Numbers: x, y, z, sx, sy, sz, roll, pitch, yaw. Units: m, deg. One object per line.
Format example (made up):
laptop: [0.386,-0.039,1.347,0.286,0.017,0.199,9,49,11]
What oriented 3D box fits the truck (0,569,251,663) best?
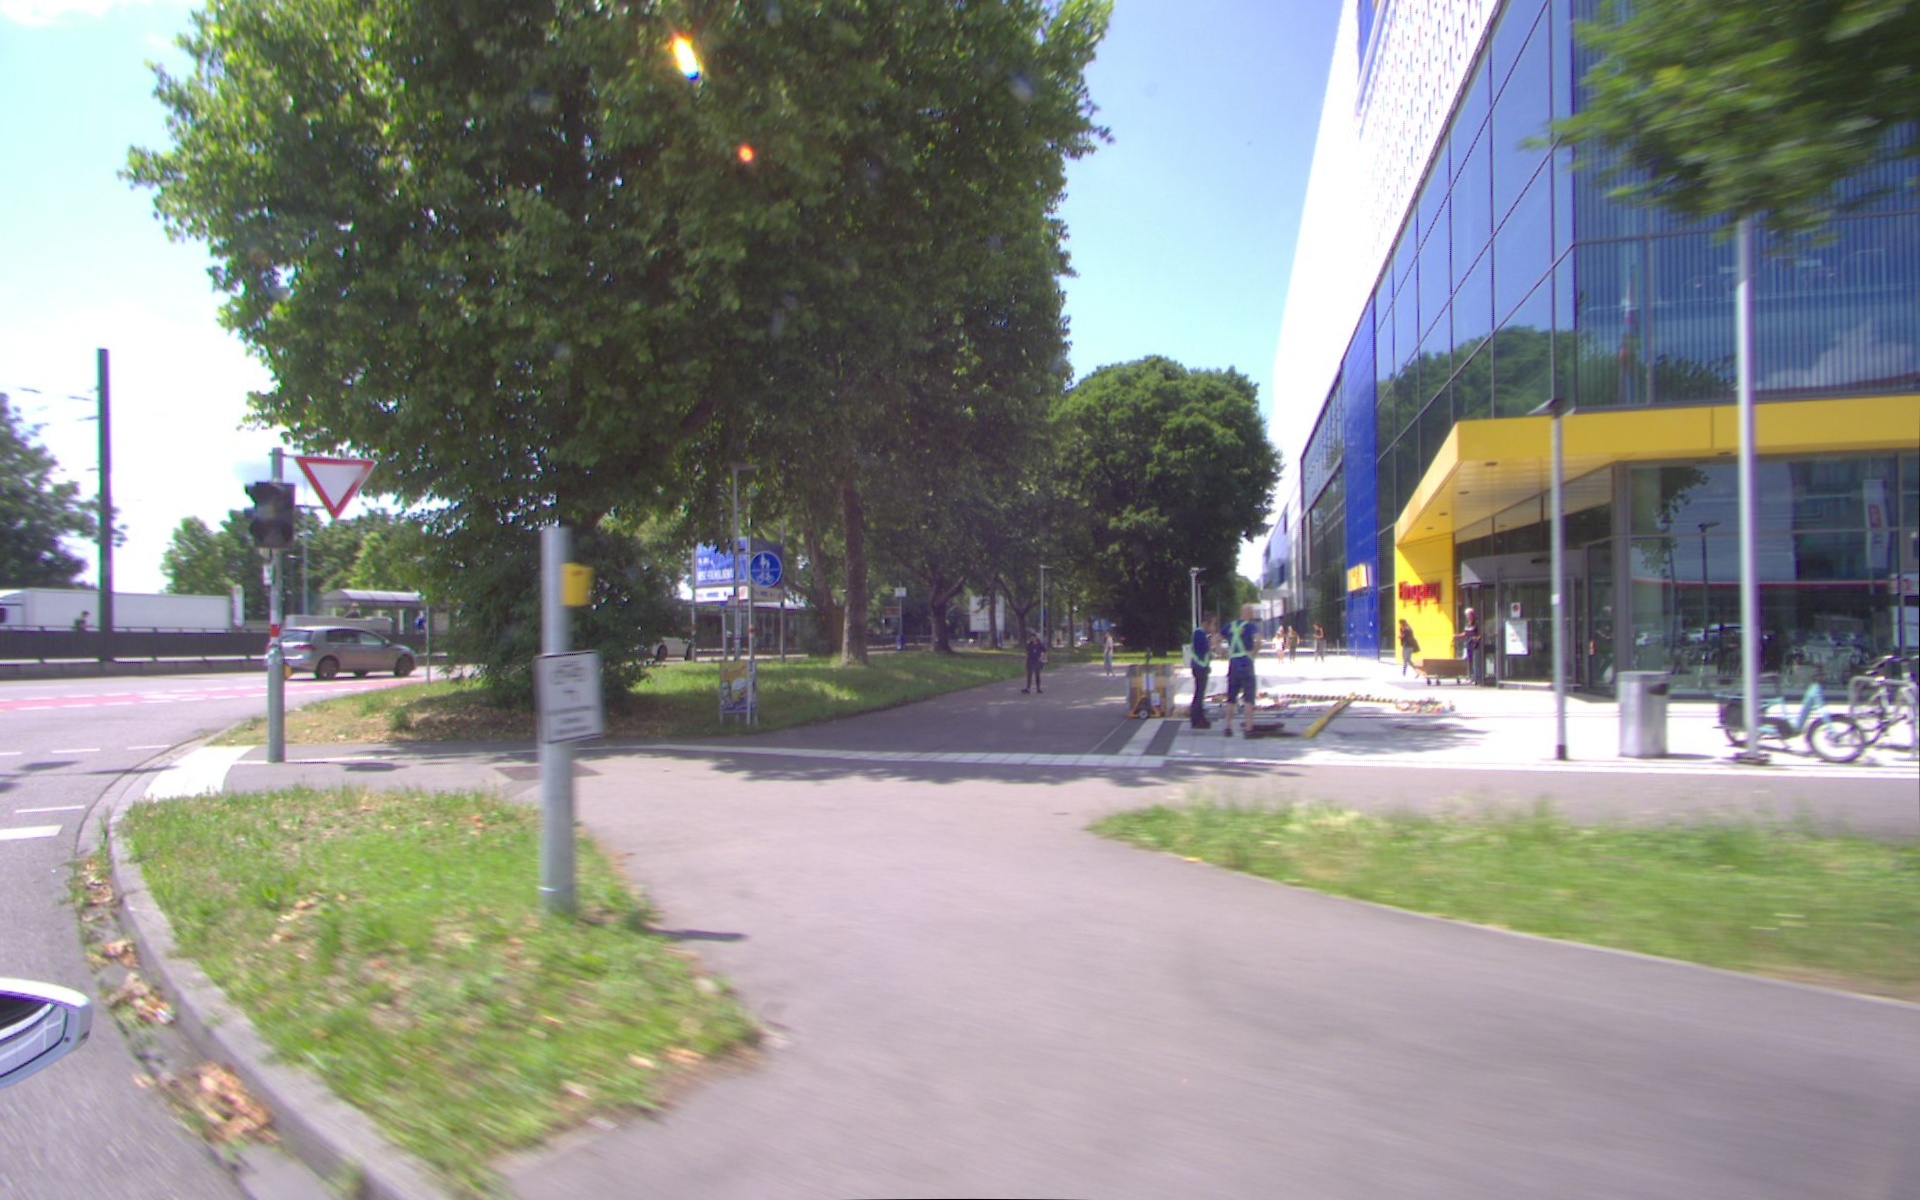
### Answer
truck: [-42.207,0.908,49.758,2.899,4.156,11.984,0,-2,18]

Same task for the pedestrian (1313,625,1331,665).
pedestrian: [15.435,1.906,42.733,0.538,1.685,0.483,1,-1,-27]

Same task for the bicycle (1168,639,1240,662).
bicycle: [13.473,2.802,55.421,3.796,1.190,0.979,-3,-3,41]

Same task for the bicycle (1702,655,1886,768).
bicycle: [9.678,1.252,11.722,0.494,1.122,1.926,-2,-1,-1]

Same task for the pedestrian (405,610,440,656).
pedestrian: [-21.262,1.317,39.621,0.723,1.778,0.929,0,-1,16]

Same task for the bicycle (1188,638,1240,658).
bicycle: [14.489,2.735,57.190,2.747,1.135,0.890,-3,-3,41]

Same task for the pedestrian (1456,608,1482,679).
pedestrian: [13.872,1.176,27.290,0.608,1.910,0.780,0,-1,25]

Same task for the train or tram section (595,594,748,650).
train or tram section: [-18.226,1.588,64.948,2.990,3.226,14.097,0,-2,13]

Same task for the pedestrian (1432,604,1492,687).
pedestrian: [11.972,1.077,23.876,0.876,1.910,0.968,1,-1,-34]

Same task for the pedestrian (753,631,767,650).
pedestrian: [-13.497,2.740,67.613,0.682,1.205,0.641,1,-1,16]

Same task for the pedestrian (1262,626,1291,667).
pedestrian: [13.242,1.939,41.879,0.873,1.685,0.783,1,-1,-23]

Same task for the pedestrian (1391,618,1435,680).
pedestrian: [12.506,1.343,27.653,0.789,1.685,0.703,-1,-1,-13]

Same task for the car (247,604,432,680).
car: [-17.703,1.165,28.832,1.964,2.015,4.358,0,-1,16]

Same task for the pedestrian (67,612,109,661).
pedestrian: [-33.066,1.394,37.984,0.723,1.830,0.929,0,-1,16]

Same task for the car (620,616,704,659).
car: [-14.671,1.813,49.542,1.964,2.015,4.358,0,-1,16]

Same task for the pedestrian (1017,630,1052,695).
pedestrian: [2.007,1.677,26.978,0.707,1.685,0.592,-3,0,20]

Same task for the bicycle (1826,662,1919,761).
bicycle: [10.945,1.280,11.805,0.416,1.007,1.865,0,-1,18]

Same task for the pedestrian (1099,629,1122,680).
pedestrian: [5.018,1.807,33.353,0.583,1.685,0.718,0,-1,21]

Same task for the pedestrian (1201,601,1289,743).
pedestrian: [4.069,0.998,14.274,0.960,1.926,1.006,-1,-1,31]

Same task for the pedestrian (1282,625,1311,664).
pedestrian: [14.504,1.917,43.192,0.873,1.684,0.783,1,-2,-24]

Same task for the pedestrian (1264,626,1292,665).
pedestrian: [14.033,2.011,44.143,0.873,1.685,0.783,1,-1,-24]

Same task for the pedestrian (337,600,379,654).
pedestrian: [-22.304,1.004,37.109,0.860,1.964,0.993,0,0,15]

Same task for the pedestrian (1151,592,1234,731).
pedestrian: [3.688,0.966,15.826,0.960,2.098,1.006,-3,-2,31]
